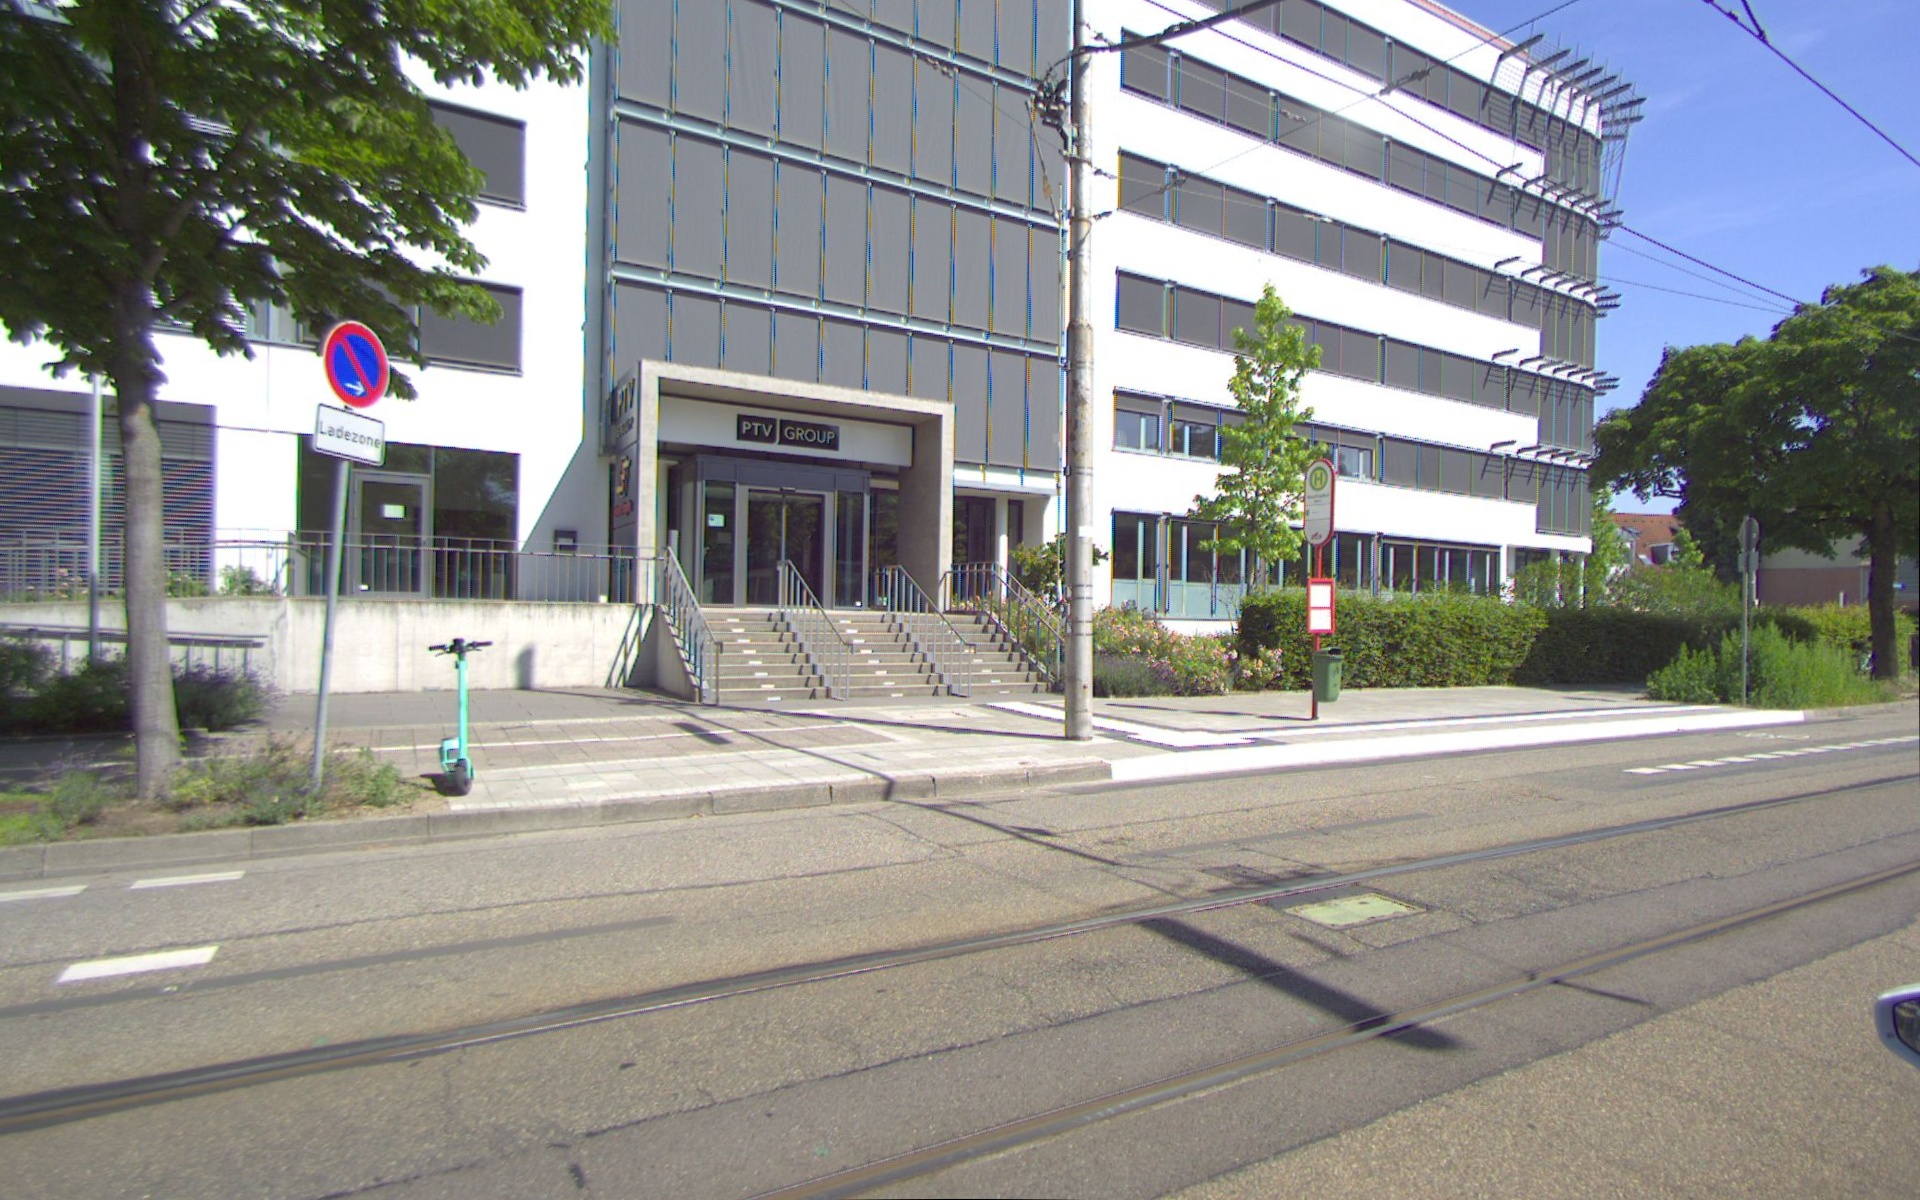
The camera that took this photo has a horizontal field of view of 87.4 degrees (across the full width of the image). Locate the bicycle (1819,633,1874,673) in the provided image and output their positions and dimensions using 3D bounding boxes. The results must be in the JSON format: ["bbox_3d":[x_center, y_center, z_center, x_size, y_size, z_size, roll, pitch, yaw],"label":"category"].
[{"bbox_3d":[26.051,1.537,29.508,2.043,1.132,0.633,1,-1,-31],"label":"bicycle"}]

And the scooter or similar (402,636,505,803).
[{"bbox_3d":[-4.018,0.898,7.993,0.667,1.182,1.122,1,0,-27],"label":"scooter or similar"}]

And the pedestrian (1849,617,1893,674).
[{"bbox_3d":[26.330,1.295,29.027,0.978,1.584,0.681,1,1,-34],"label":"pedestrian"}]
